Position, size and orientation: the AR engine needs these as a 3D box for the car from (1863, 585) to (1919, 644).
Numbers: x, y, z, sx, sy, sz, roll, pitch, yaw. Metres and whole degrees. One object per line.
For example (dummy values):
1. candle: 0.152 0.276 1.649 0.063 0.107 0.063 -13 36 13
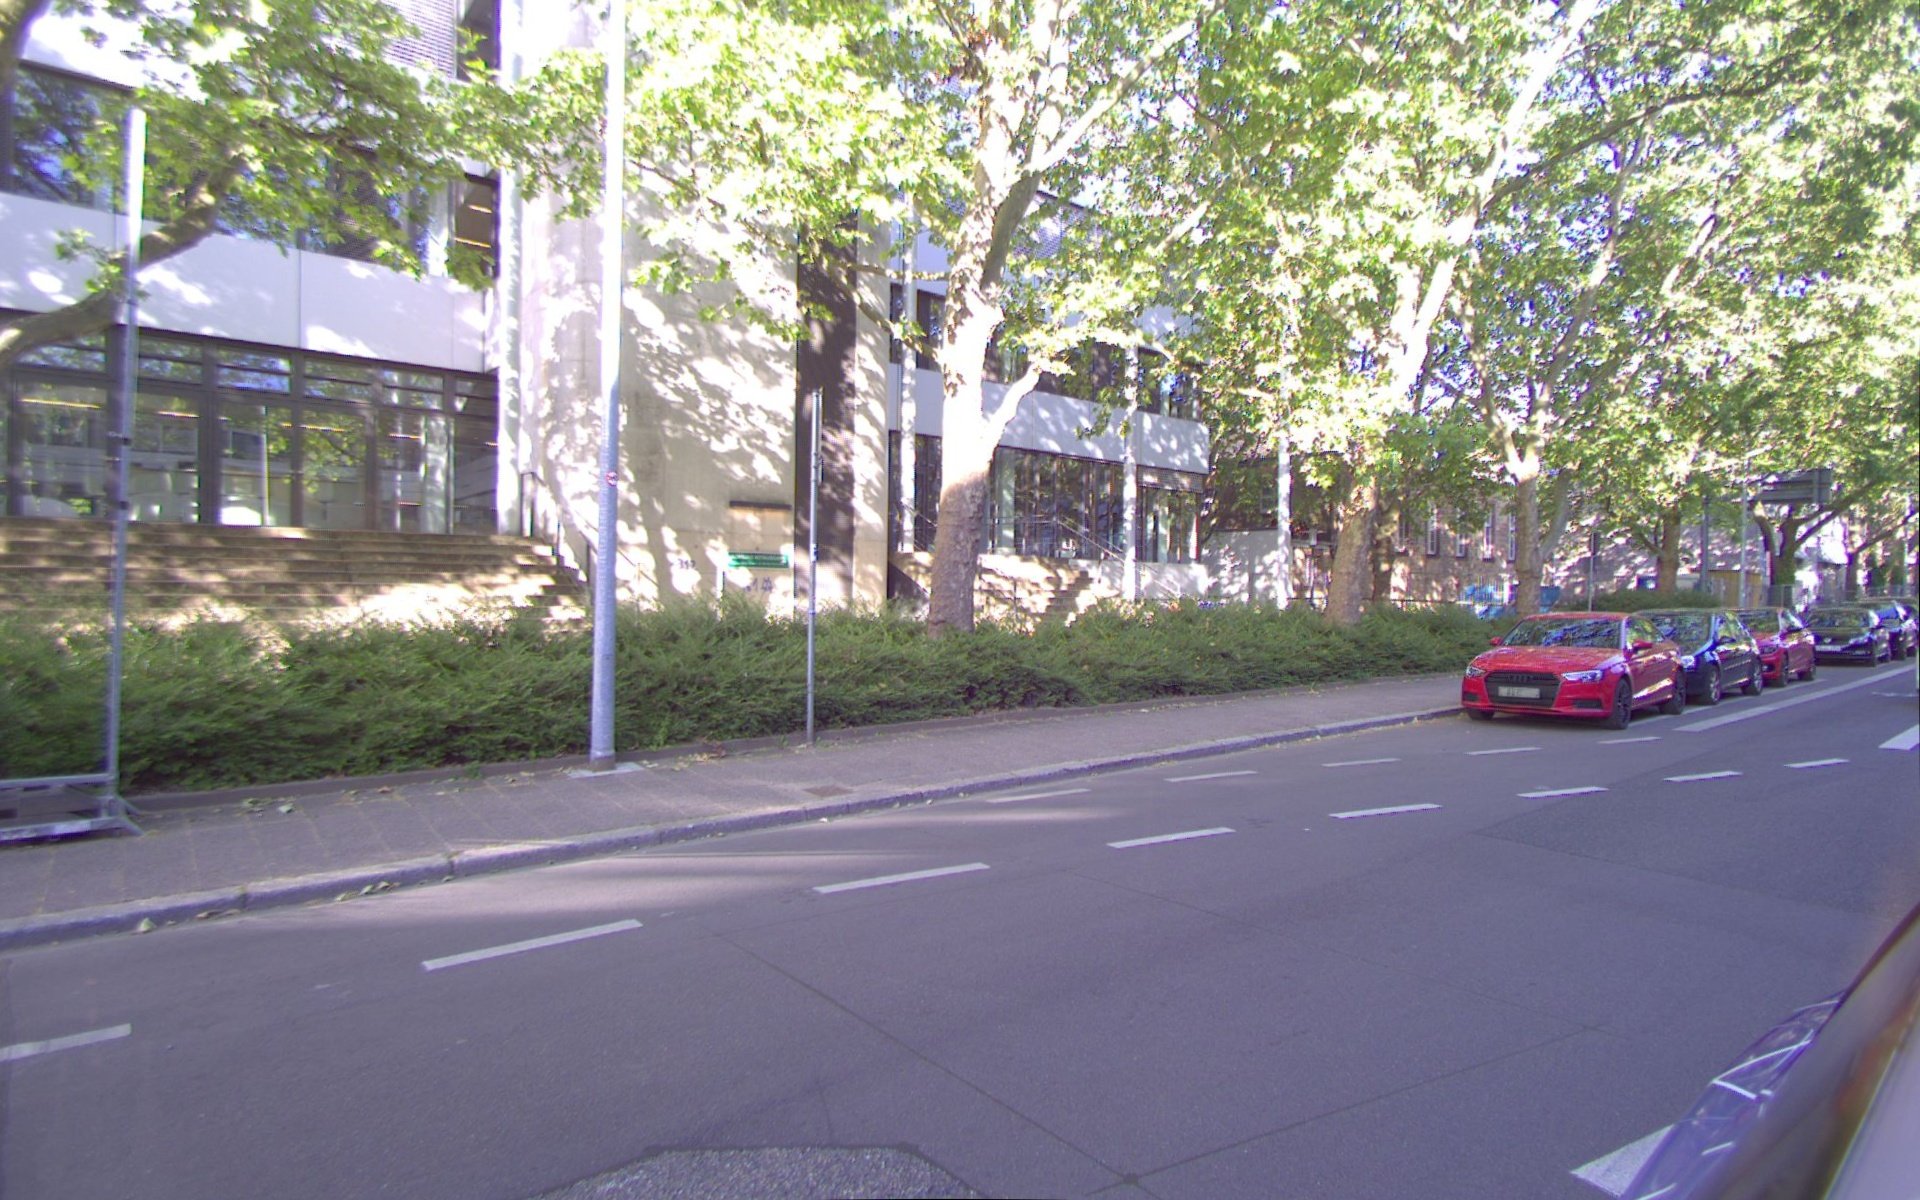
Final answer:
1. car: 31.052 0.440 32.977 4.383 1.820 1.834 0 0 -40

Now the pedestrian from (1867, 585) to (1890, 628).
1. pedestrian: 40.594 0.292 44.721 0.629 1.884 0.660 0 0 -41

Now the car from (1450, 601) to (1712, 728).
1. car: 8.410 0.737 13.570 4.173 1.422 1.834 0 0 -41

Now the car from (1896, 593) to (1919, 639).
1. car: 35.915 0.582 37.102 4.183 1.634 1.834 0 0 -40

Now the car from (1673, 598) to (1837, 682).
1. car: 15.845 0.709 20.101 4.095 1.486 1.834 0 0 -41

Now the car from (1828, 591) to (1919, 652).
1. car: 26.566 0.573 29.087 4.088 1.626 1.834 0 0 -40

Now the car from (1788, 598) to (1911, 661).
1. car: 22.877 0.703 25.993 4.095 1.486 1.834 0 0 -41

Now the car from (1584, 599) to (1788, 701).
1. car: 12.030 0.719 16.686 4.095 1.464 1.834 0 0 -41
